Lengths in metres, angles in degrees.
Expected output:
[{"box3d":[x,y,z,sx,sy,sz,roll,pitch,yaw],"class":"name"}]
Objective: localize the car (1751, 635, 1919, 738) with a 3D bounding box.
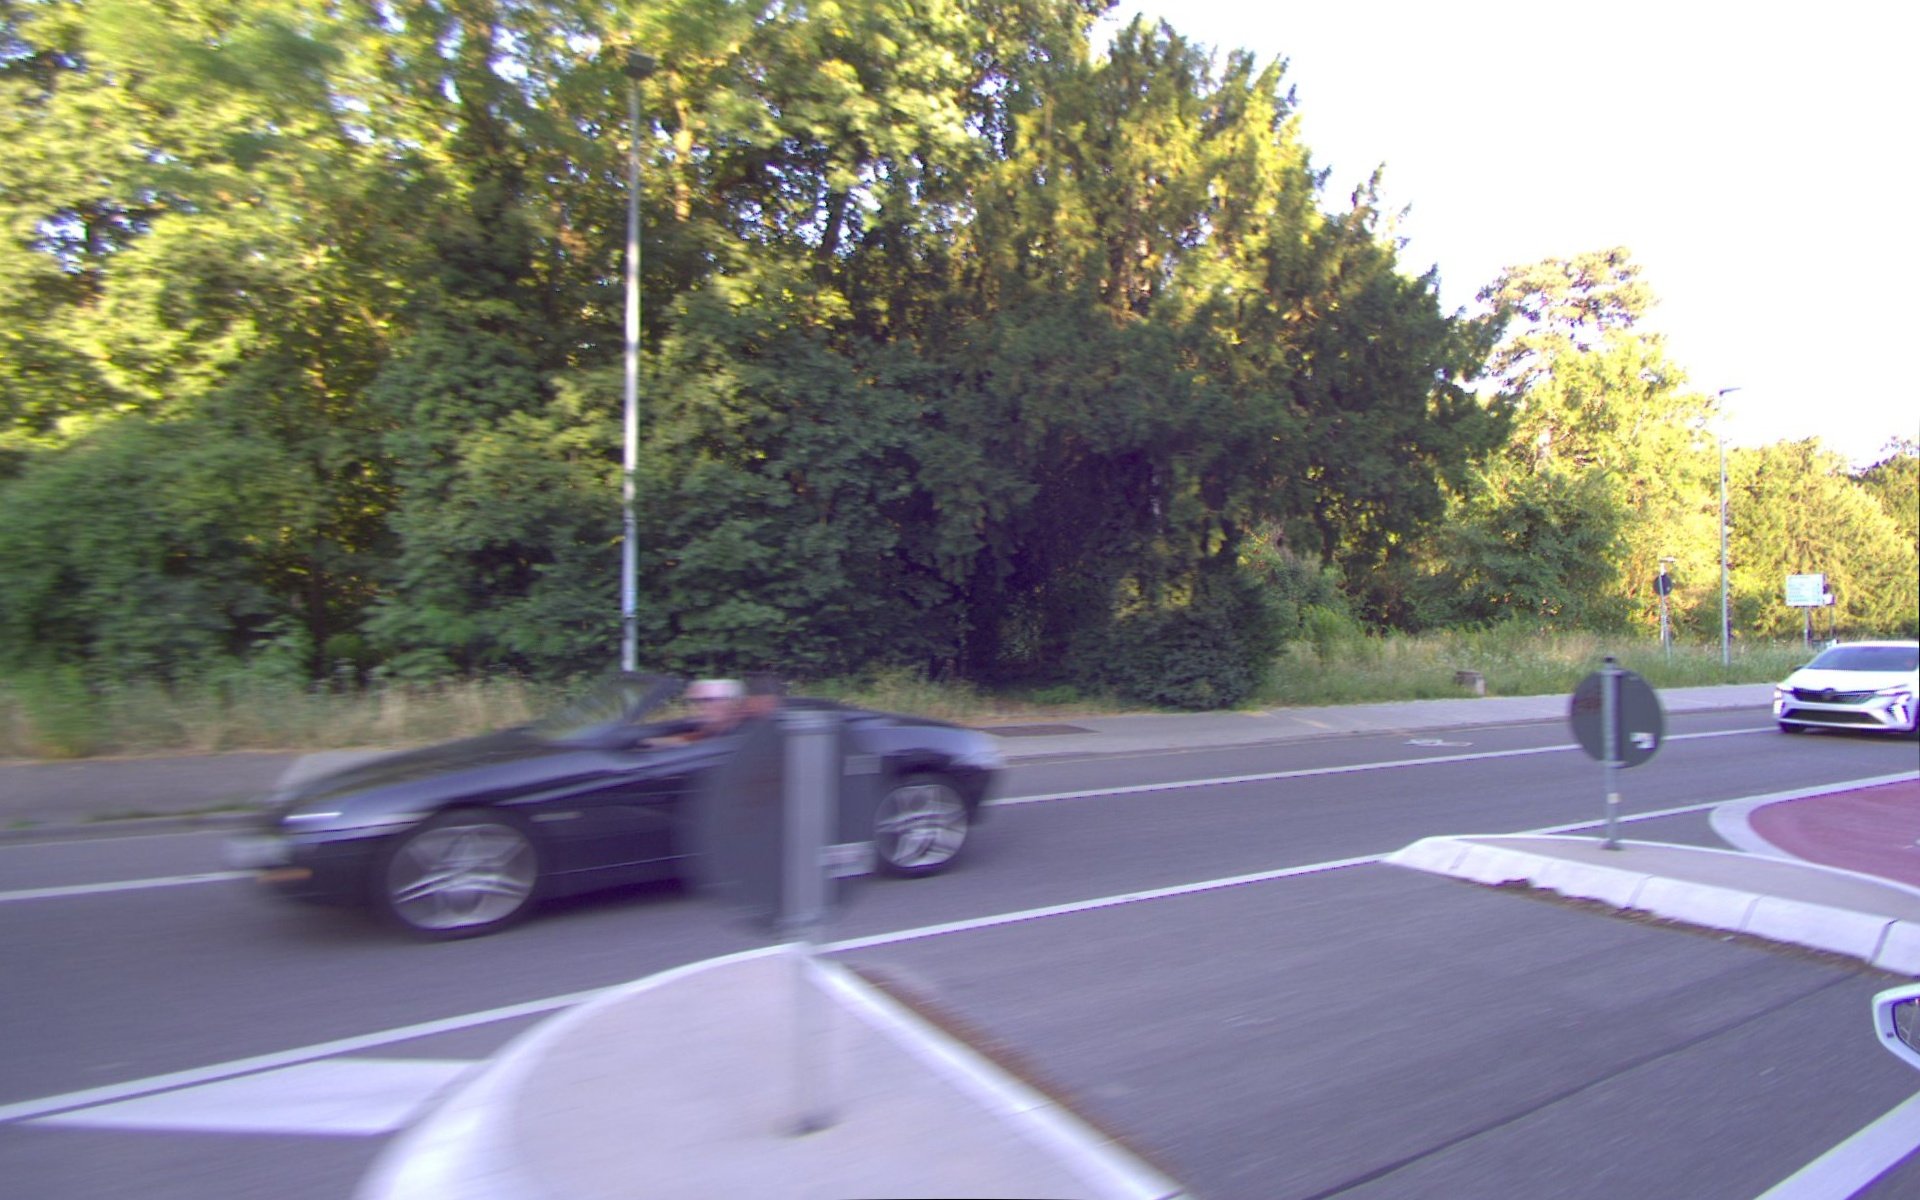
[{"box3d":[14.536,1.271,15.840,4.131,1.432,1.838,1,-2,-30],"class":"car"}]
